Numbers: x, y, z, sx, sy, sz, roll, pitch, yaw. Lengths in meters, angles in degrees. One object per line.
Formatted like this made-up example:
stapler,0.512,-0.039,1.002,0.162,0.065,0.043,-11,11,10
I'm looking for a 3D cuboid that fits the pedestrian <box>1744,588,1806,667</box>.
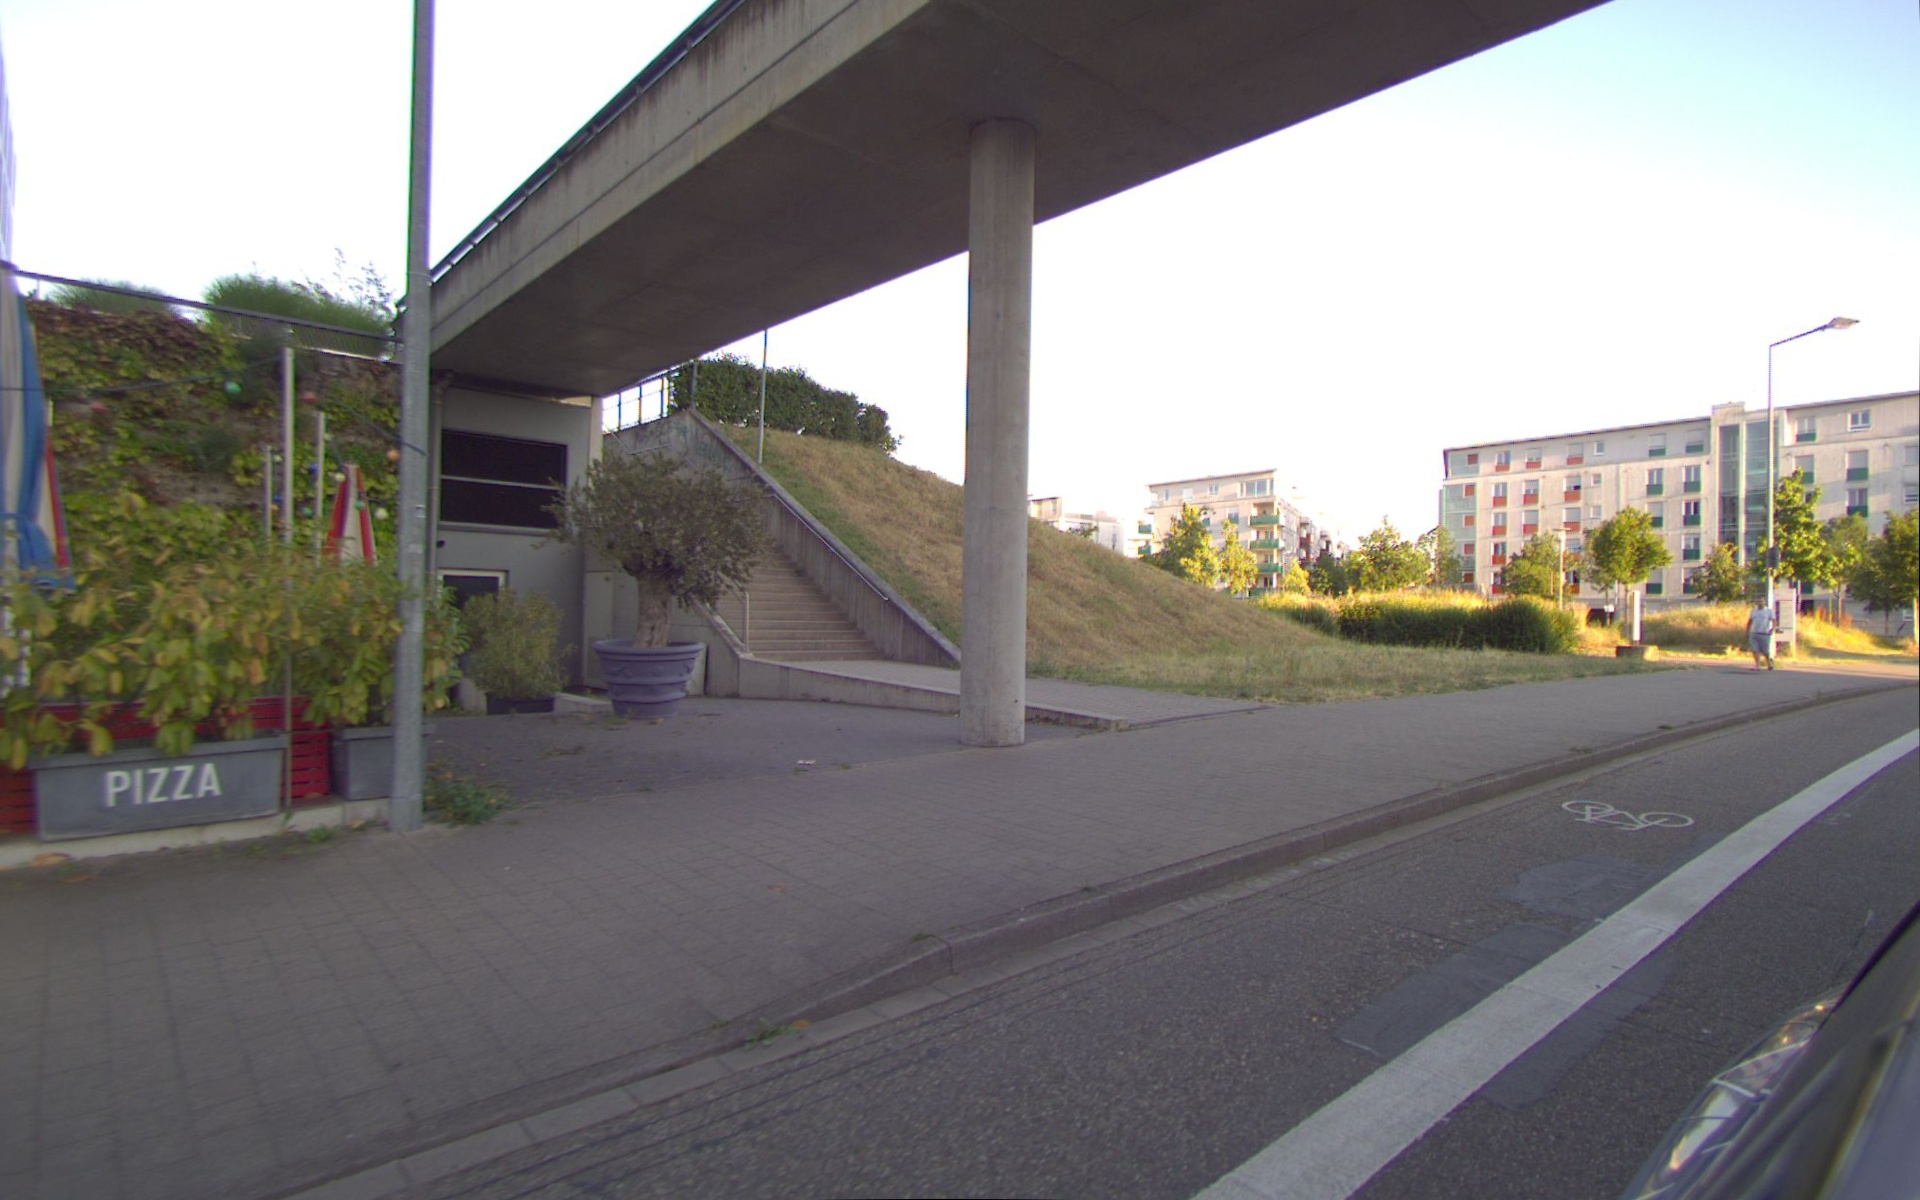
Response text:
pedestrian,19.241,0.629,23.900,0.802,1.788,0.835,2,2,-33
